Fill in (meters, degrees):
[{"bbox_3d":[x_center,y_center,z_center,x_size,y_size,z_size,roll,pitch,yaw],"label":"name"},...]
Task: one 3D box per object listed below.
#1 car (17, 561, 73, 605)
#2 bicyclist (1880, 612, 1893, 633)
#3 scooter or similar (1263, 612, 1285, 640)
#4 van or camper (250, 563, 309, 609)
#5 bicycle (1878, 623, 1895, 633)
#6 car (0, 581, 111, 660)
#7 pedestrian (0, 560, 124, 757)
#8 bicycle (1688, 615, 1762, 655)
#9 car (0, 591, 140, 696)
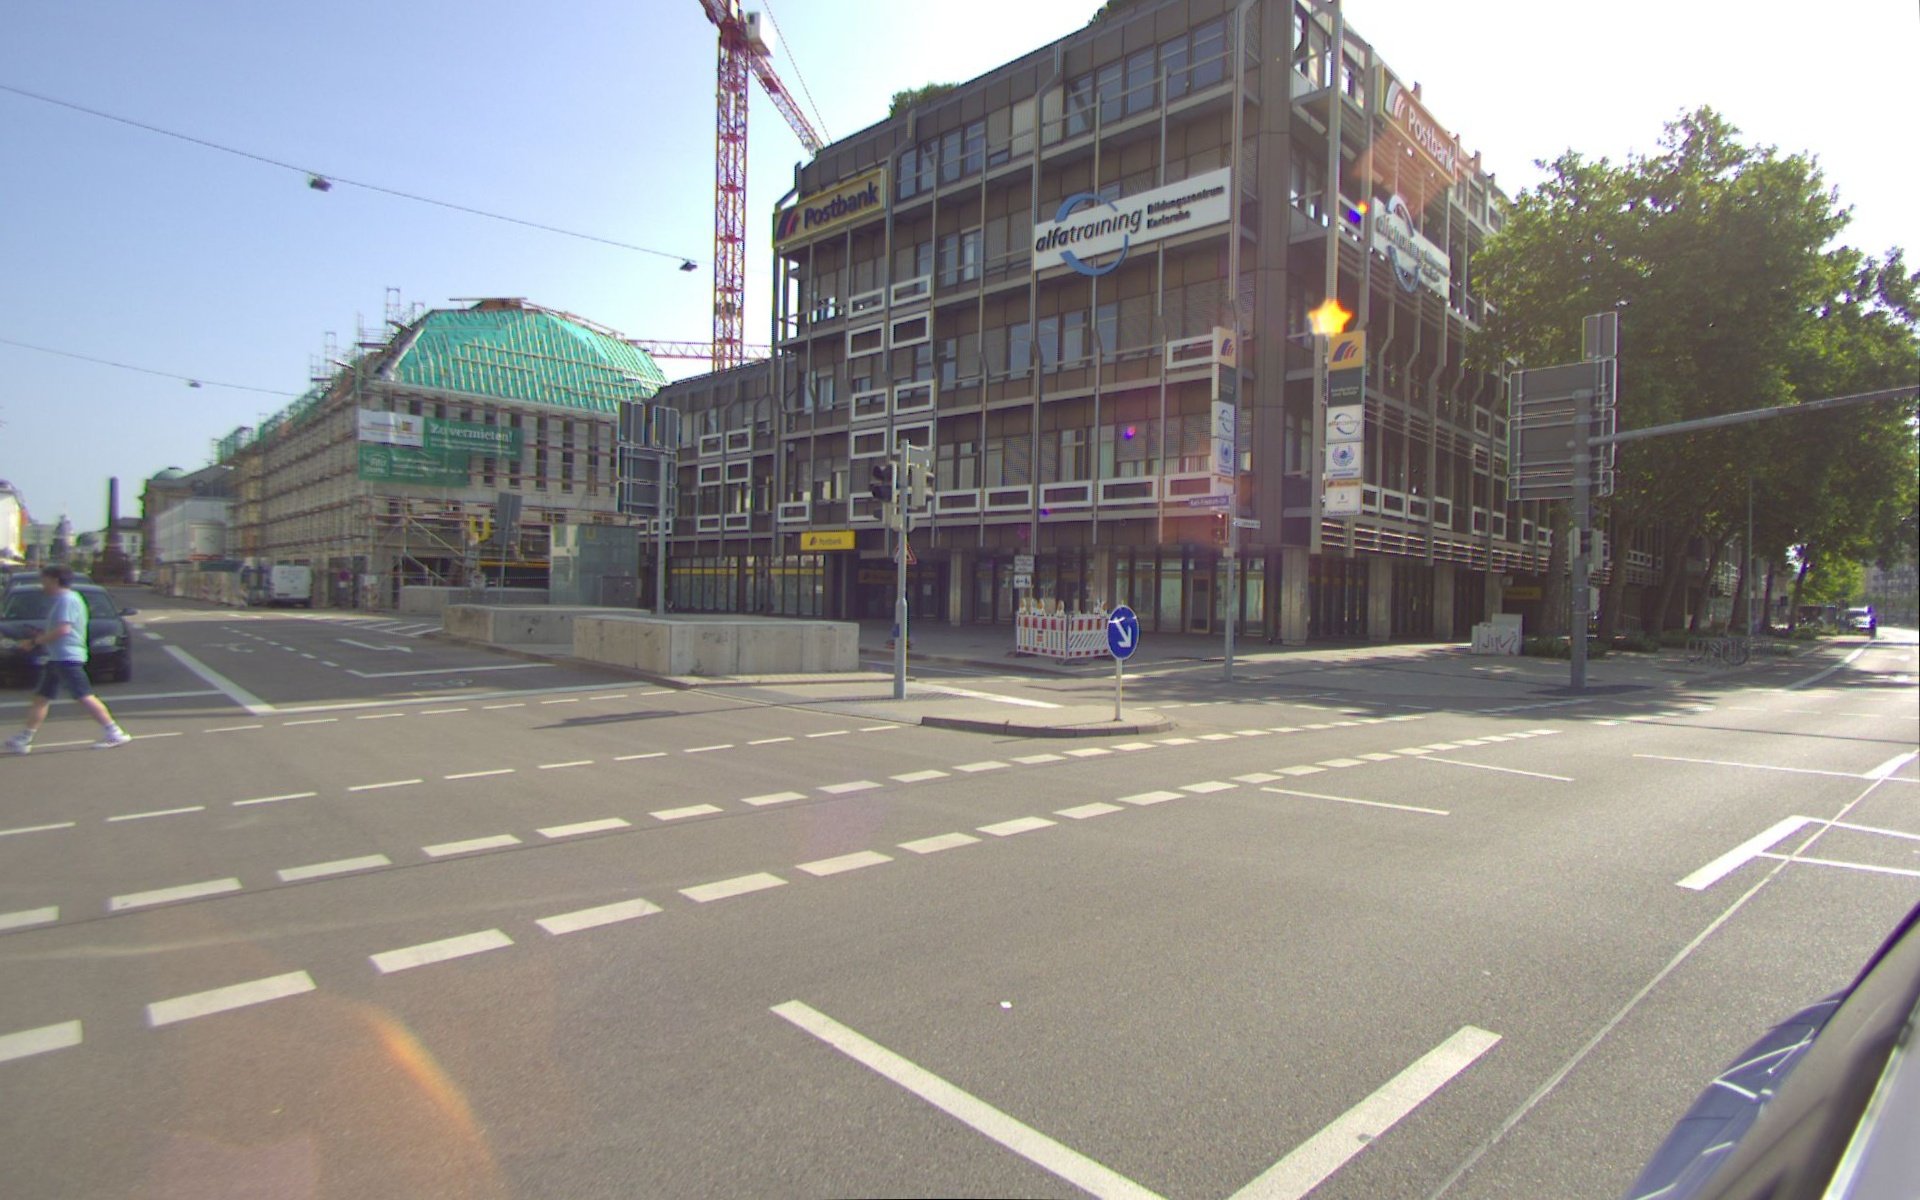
[{"bbox_3d":[-54.520,-0.952,60.286,2.385,2.440,4.996,0,-1,-43],"label":"car"},{"bbox_3d":[68.855,1.689,75.194,0.608,1.532,0.804,1,0,34],"label":"bicyclist"},{"bbox_3d":[9.949,0.825,32.069,0.278,0.854,0.944,1,0,43],"label":"scooter or similar"},{"bbox_3d":[-38.255,-0.781,56.850,1.966,2.440,5.133,1,0,-43],"label":"van or camper"},{"bbox_3d":[68.875,2.102,75.233,0.626,0.715,1.787,1,0,34],"label":"bicycle"},{"bbox_3d":[-18.084,0.345,20.045,1.846,1.420,3.907,0,1,-41],"label":"car"},{"bbox_3d":[-8.368,0.500,9.330,0.972,1.732,0.644,-1,1,-38],"label":"pedestrian"},{"bbox_3d":[25.168,1.129,33.317,0.528,1.202,1.831,1,1,-40],"label":"bicycle"},{"bbox_3d":[-13.919,0.576,15.586,1.845,1.383,3.899,-1,1,-42],"label":"car"}]
